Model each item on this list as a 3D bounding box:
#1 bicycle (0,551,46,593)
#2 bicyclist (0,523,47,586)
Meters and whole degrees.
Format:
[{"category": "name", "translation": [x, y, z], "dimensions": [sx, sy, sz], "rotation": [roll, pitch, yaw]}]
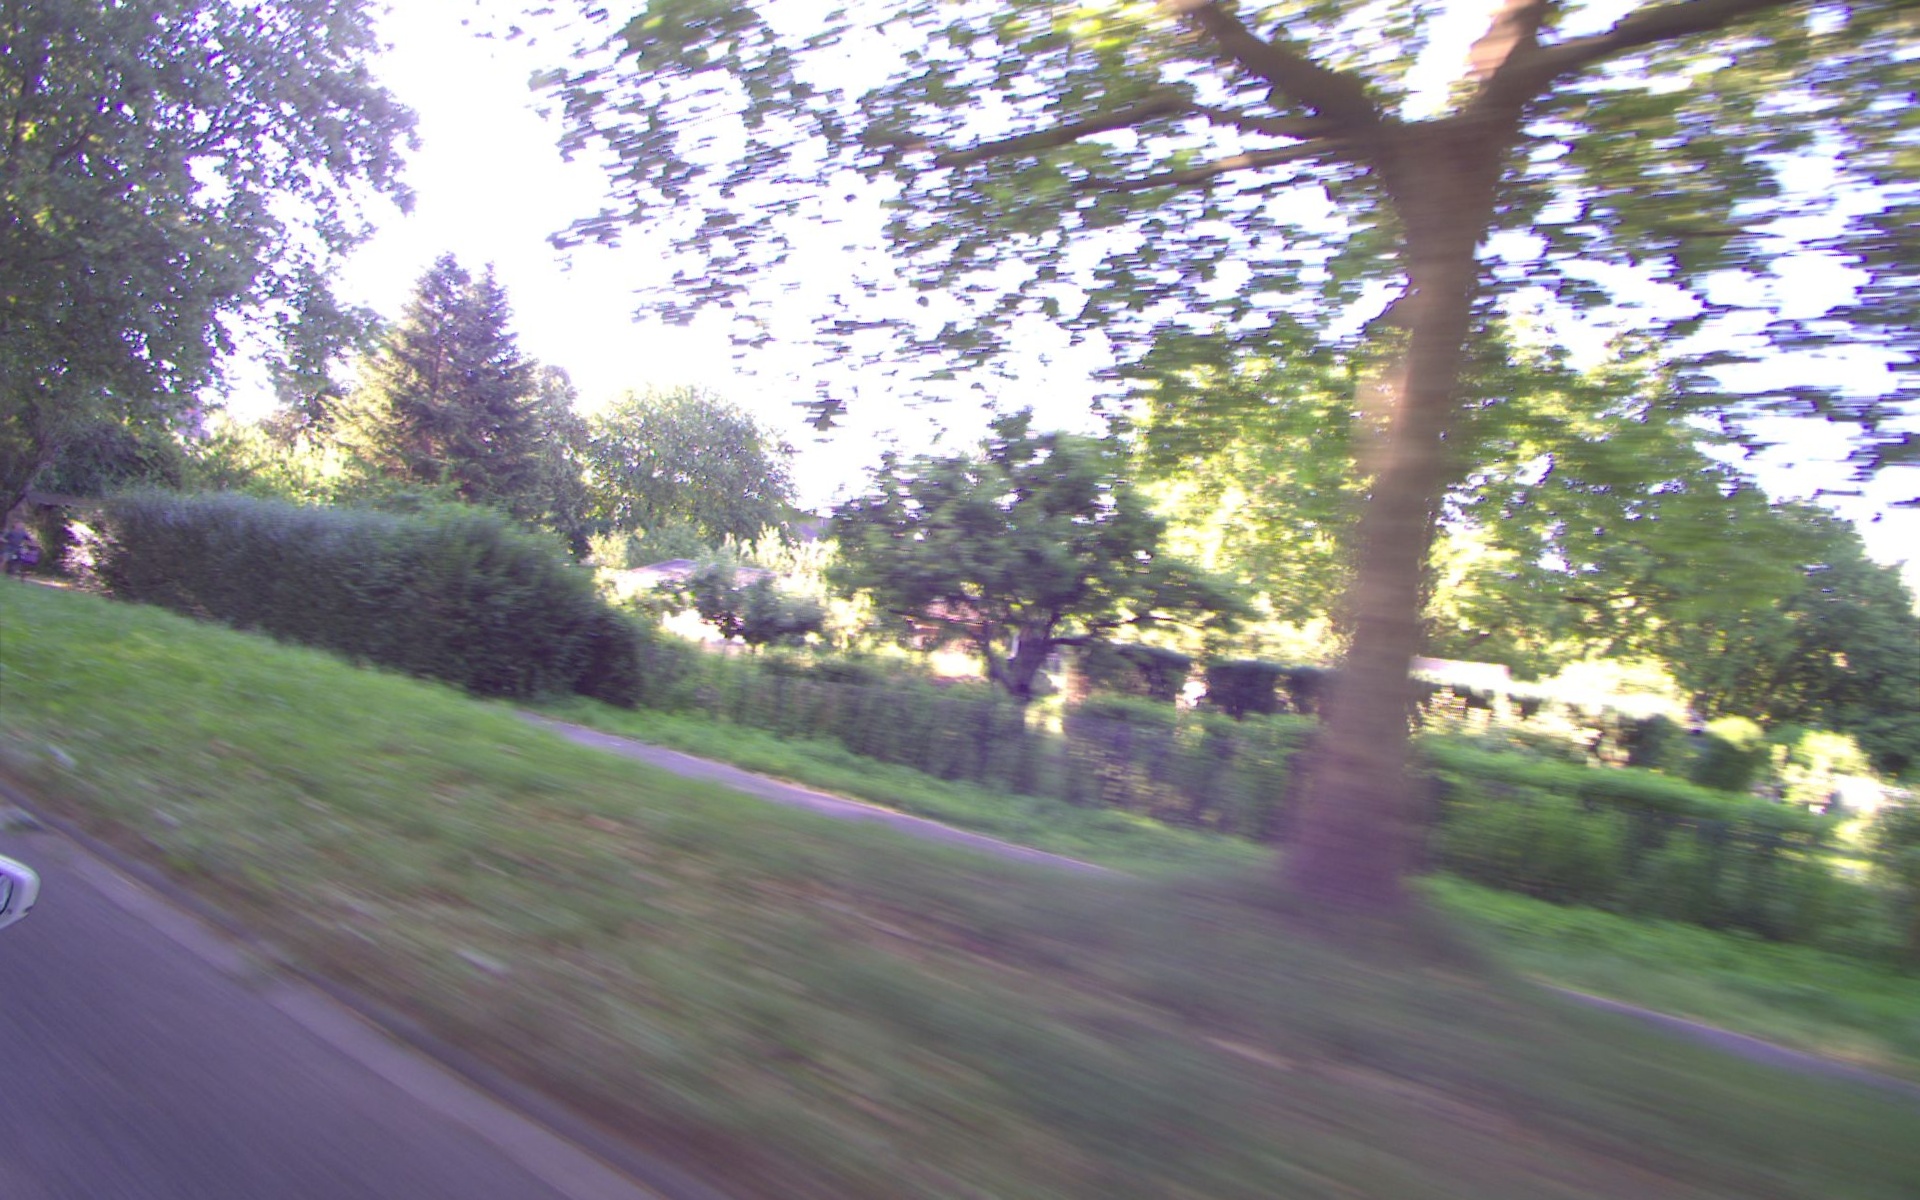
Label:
[{"category": "bicycle", "translation": [-22.498, -0.678, 23.923], "dimensions": [1.857, 0.826, 0.553], "rotation": [6, -2, 31]}, {"category": "bicyclist", "translation": [-22.382, -1.084, 23.868], "dimensions": [0.758, 1.382, 0.736], "rotation": [6, -2, 29]}]
